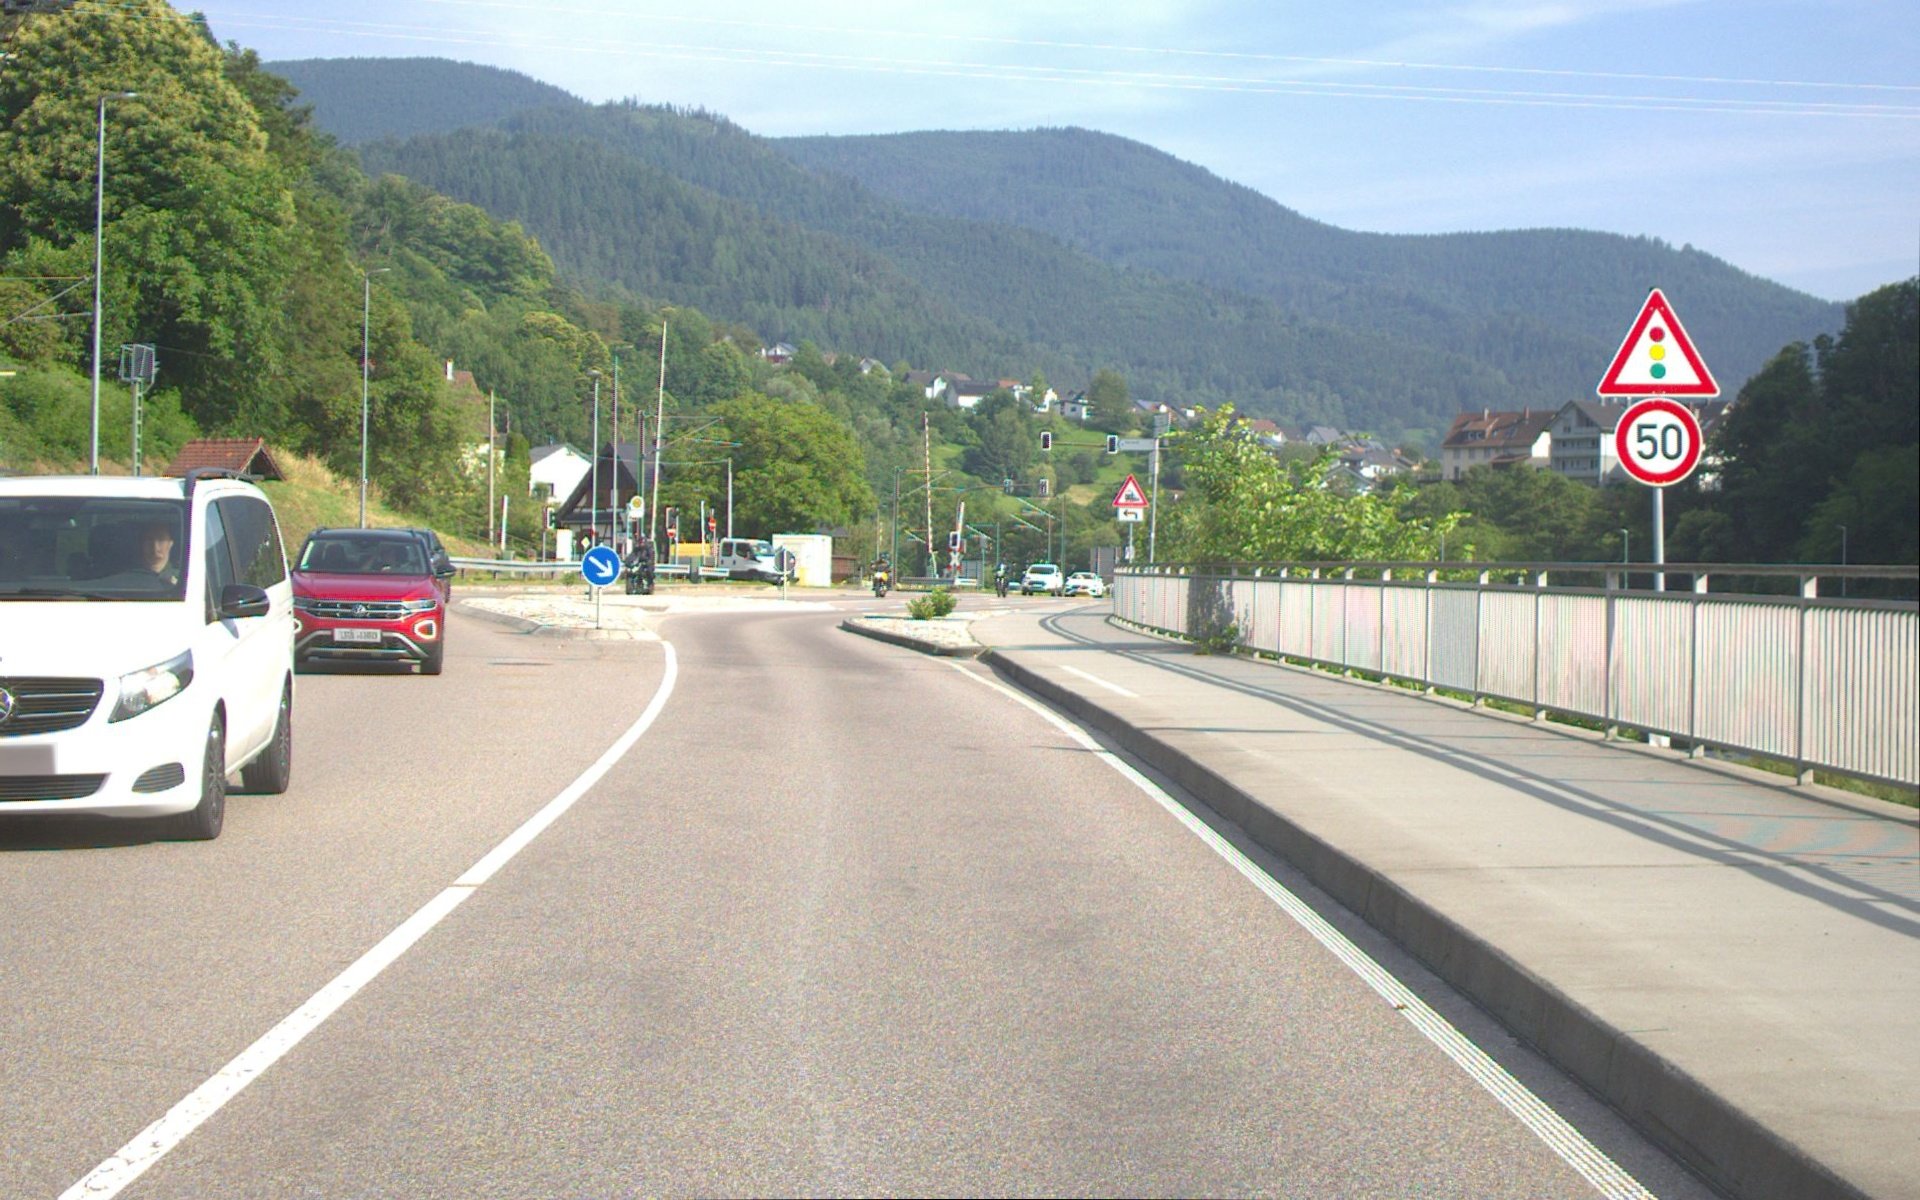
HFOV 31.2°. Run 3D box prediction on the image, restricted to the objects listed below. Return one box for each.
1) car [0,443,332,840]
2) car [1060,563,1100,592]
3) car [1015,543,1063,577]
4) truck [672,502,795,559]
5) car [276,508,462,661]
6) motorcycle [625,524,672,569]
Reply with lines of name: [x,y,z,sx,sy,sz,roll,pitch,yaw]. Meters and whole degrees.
car: [-4.727,0.138,18.903,1.896,1.881,5.297,0,1,-4]
car: [6.749,-1.279,193.594,1.782,1.395,4.828,3,2,-3]
car: [4.085,-2.055,176.643,1.765,1.555,3.997,0,-2,12]
truck: [-10.582,-3.261,160.119,5.999,2.258,1.995,5,2,42]
car: [-6.489,-0.211,38.100,1.705,1.578,4.160,1,1,-6]
motorcycle: [-8.542,-1.469,94.267,0.894,1.179,2.306,1,2,-14]
